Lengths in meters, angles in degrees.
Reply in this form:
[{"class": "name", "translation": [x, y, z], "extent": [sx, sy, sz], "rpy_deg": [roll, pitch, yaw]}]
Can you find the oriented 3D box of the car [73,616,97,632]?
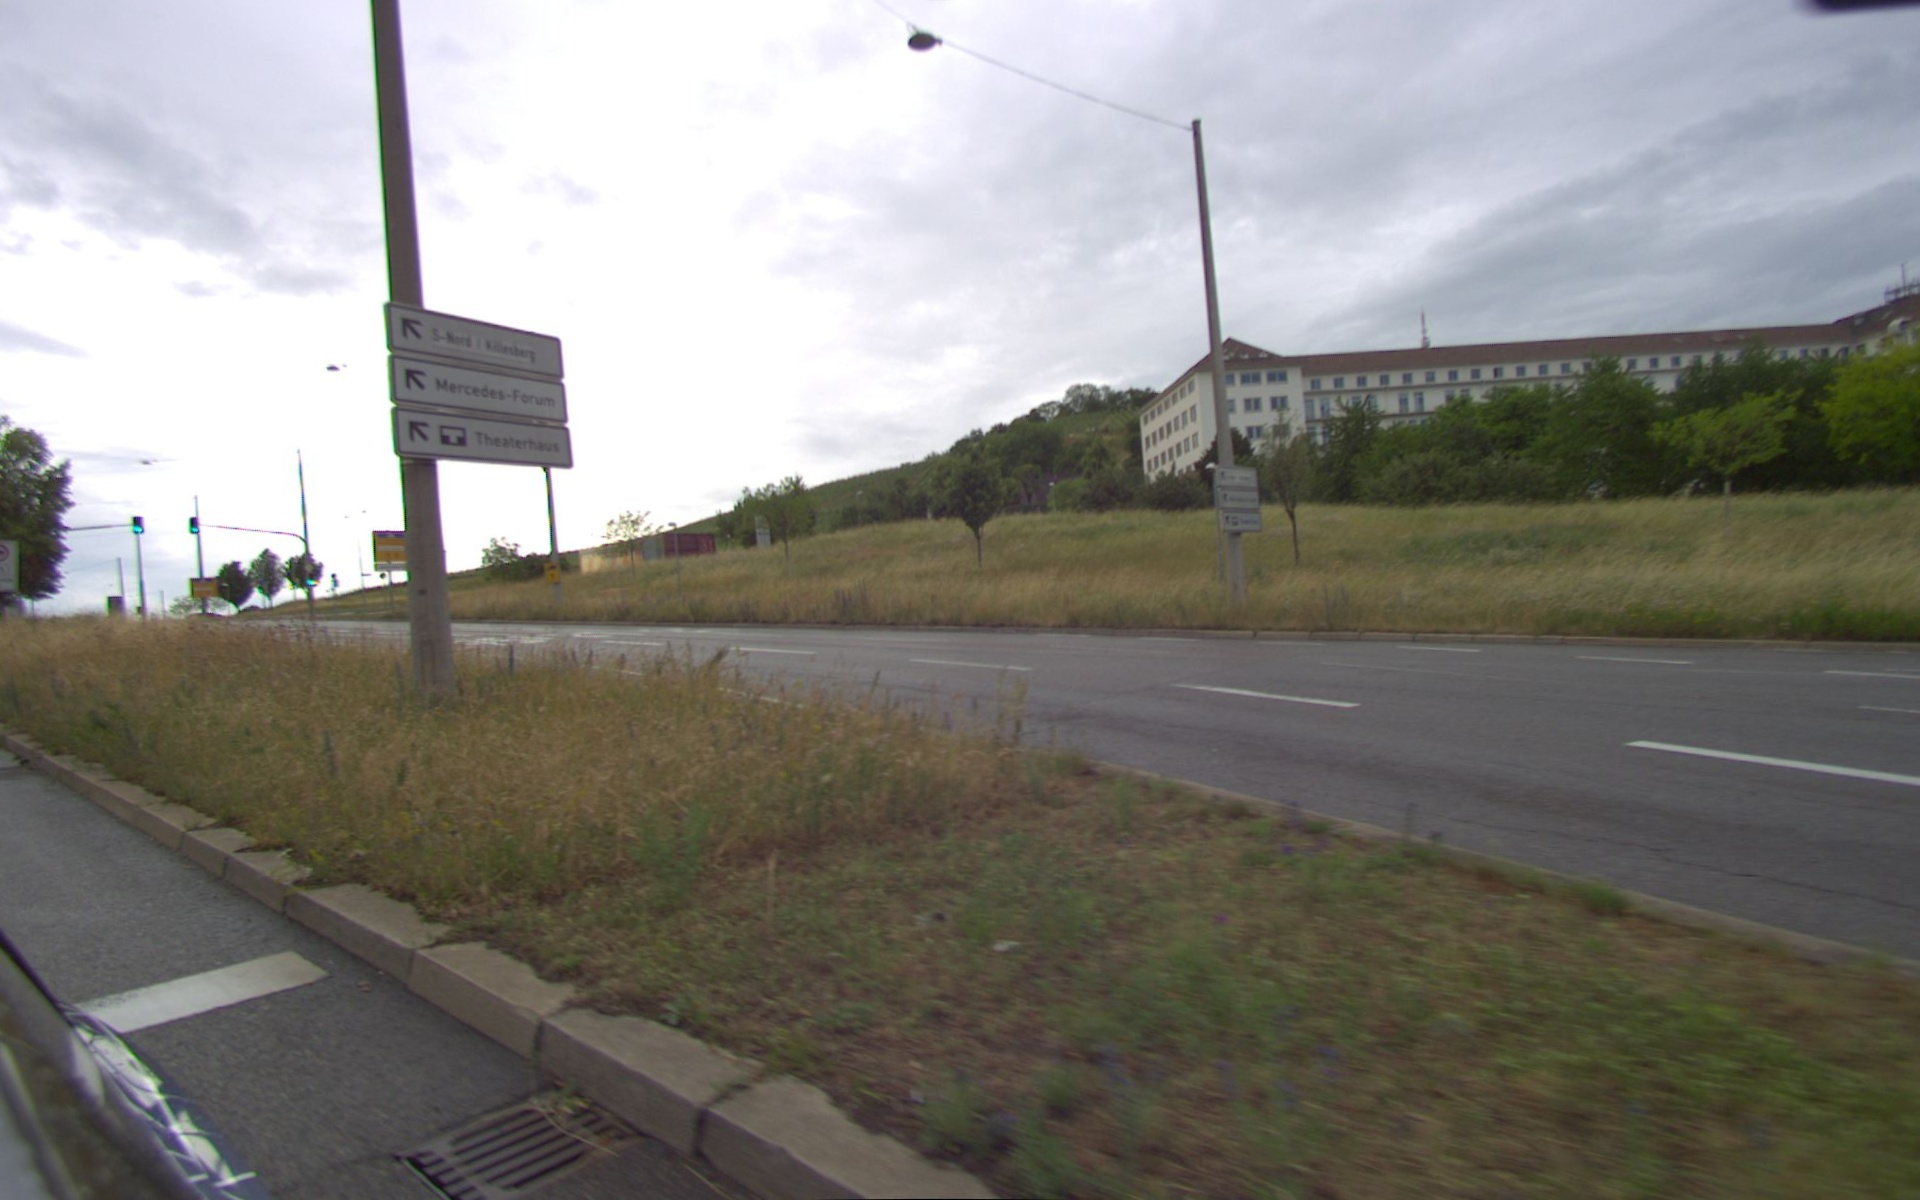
[{"class": "car", "translation": [-82.816, 2.283, 95.762], "extent": [1.520, 1.399, 3.931], "rpy_deg": [-3, 2, -43]}]
